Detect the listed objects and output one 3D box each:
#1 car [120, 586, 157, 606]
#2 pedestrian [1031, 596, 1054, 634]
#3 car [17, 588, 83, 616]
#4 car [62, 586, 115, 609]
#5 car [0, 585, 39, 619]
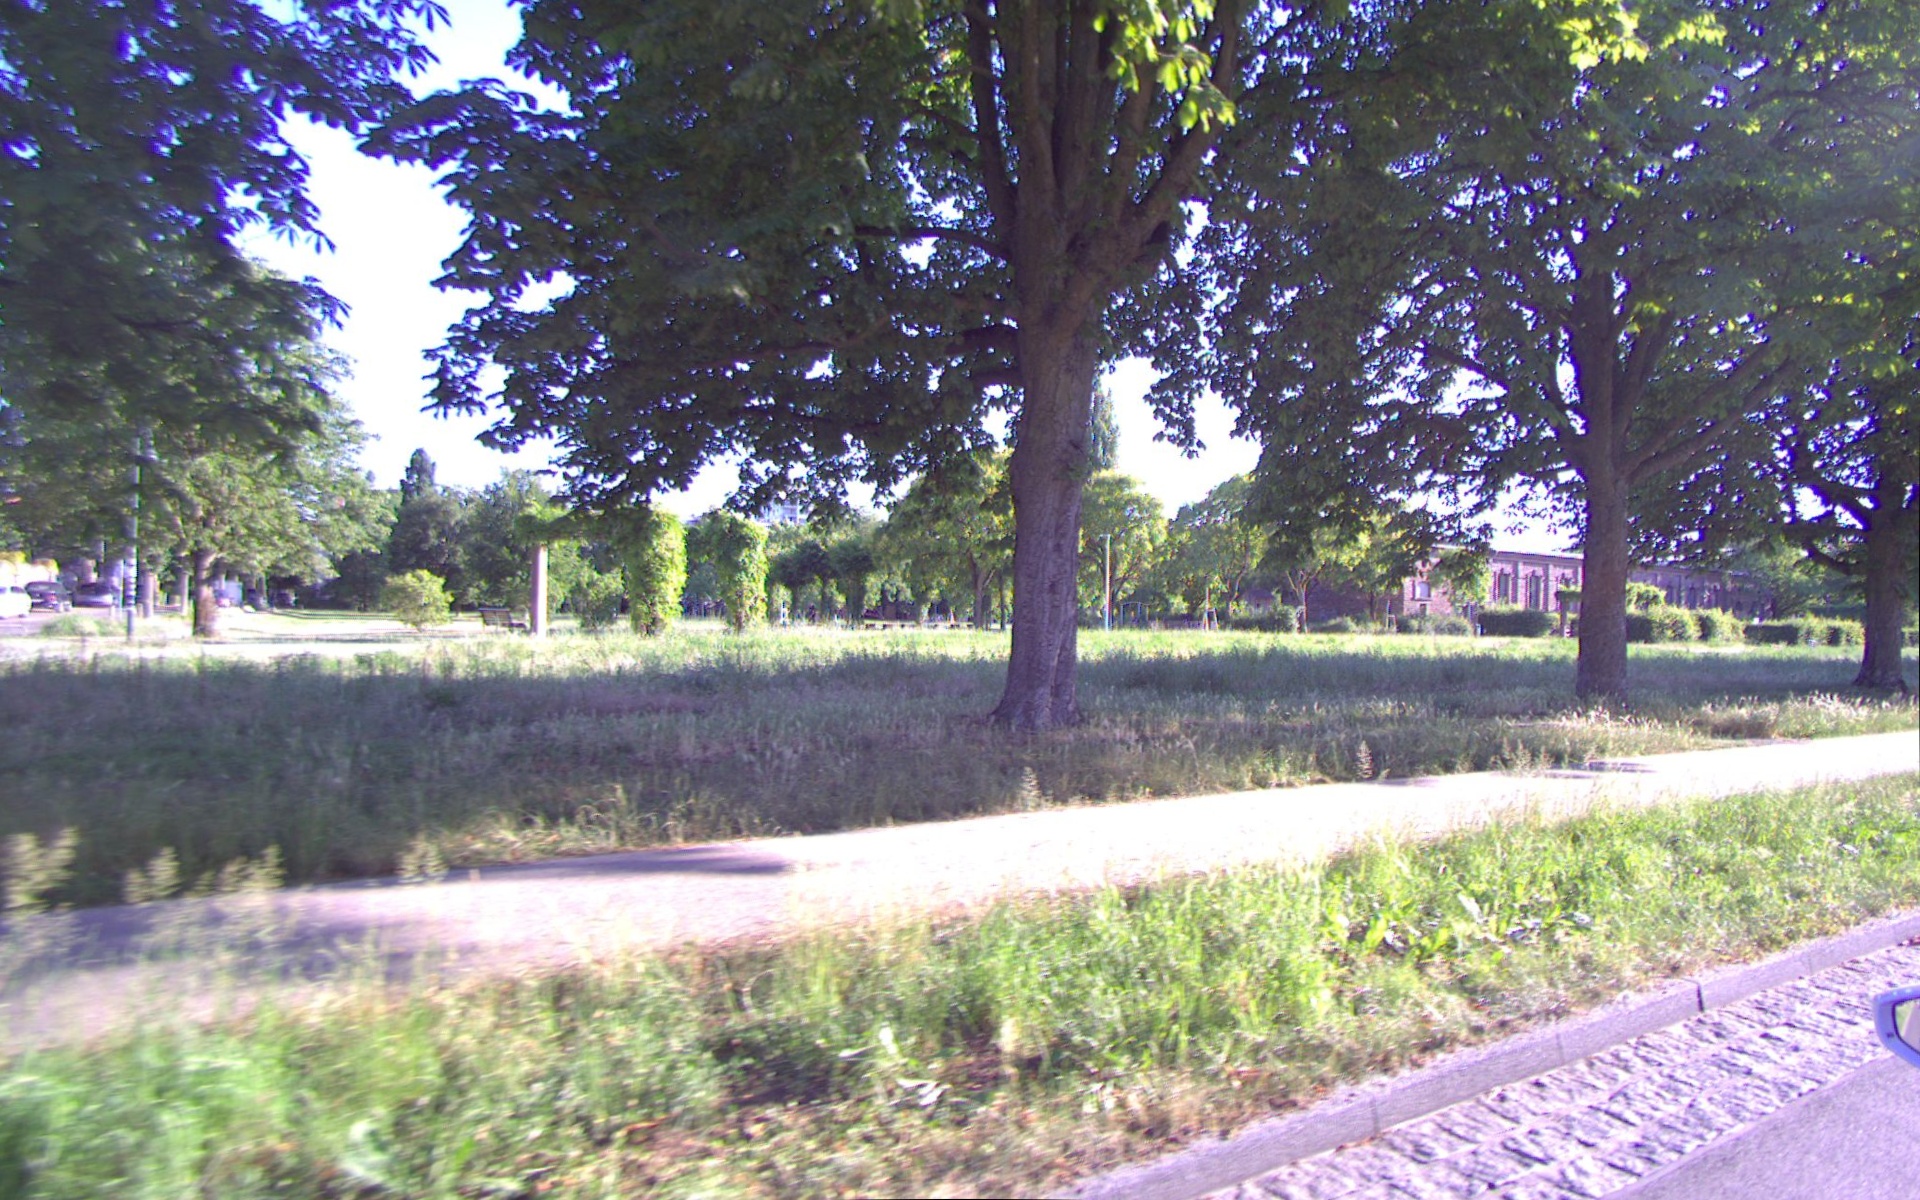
[{"bbox_3d":[-60.016,-0.306,73.446,1.569,1.297,3.608,2,0,-31],"label":"car"},{"bbox_3d":[3.837,0.701,46.649,0.764,1.747,0.714,2,0,32],"label":"pedestrian"},{"bbox_3d":[-45.902,0.064,50.731,1.567,1.297,3.613,2,0,-28],"label":"car"},{"bbox_3d":[-52.082,-0.175,60.099,1.567,1.297,3.613,2,0,-28],"label":"car"},{"bbox_3d":[-39.728,0.052,41.493,1.567,1.297,3.613,2,0,-28],"label":"car"}]
